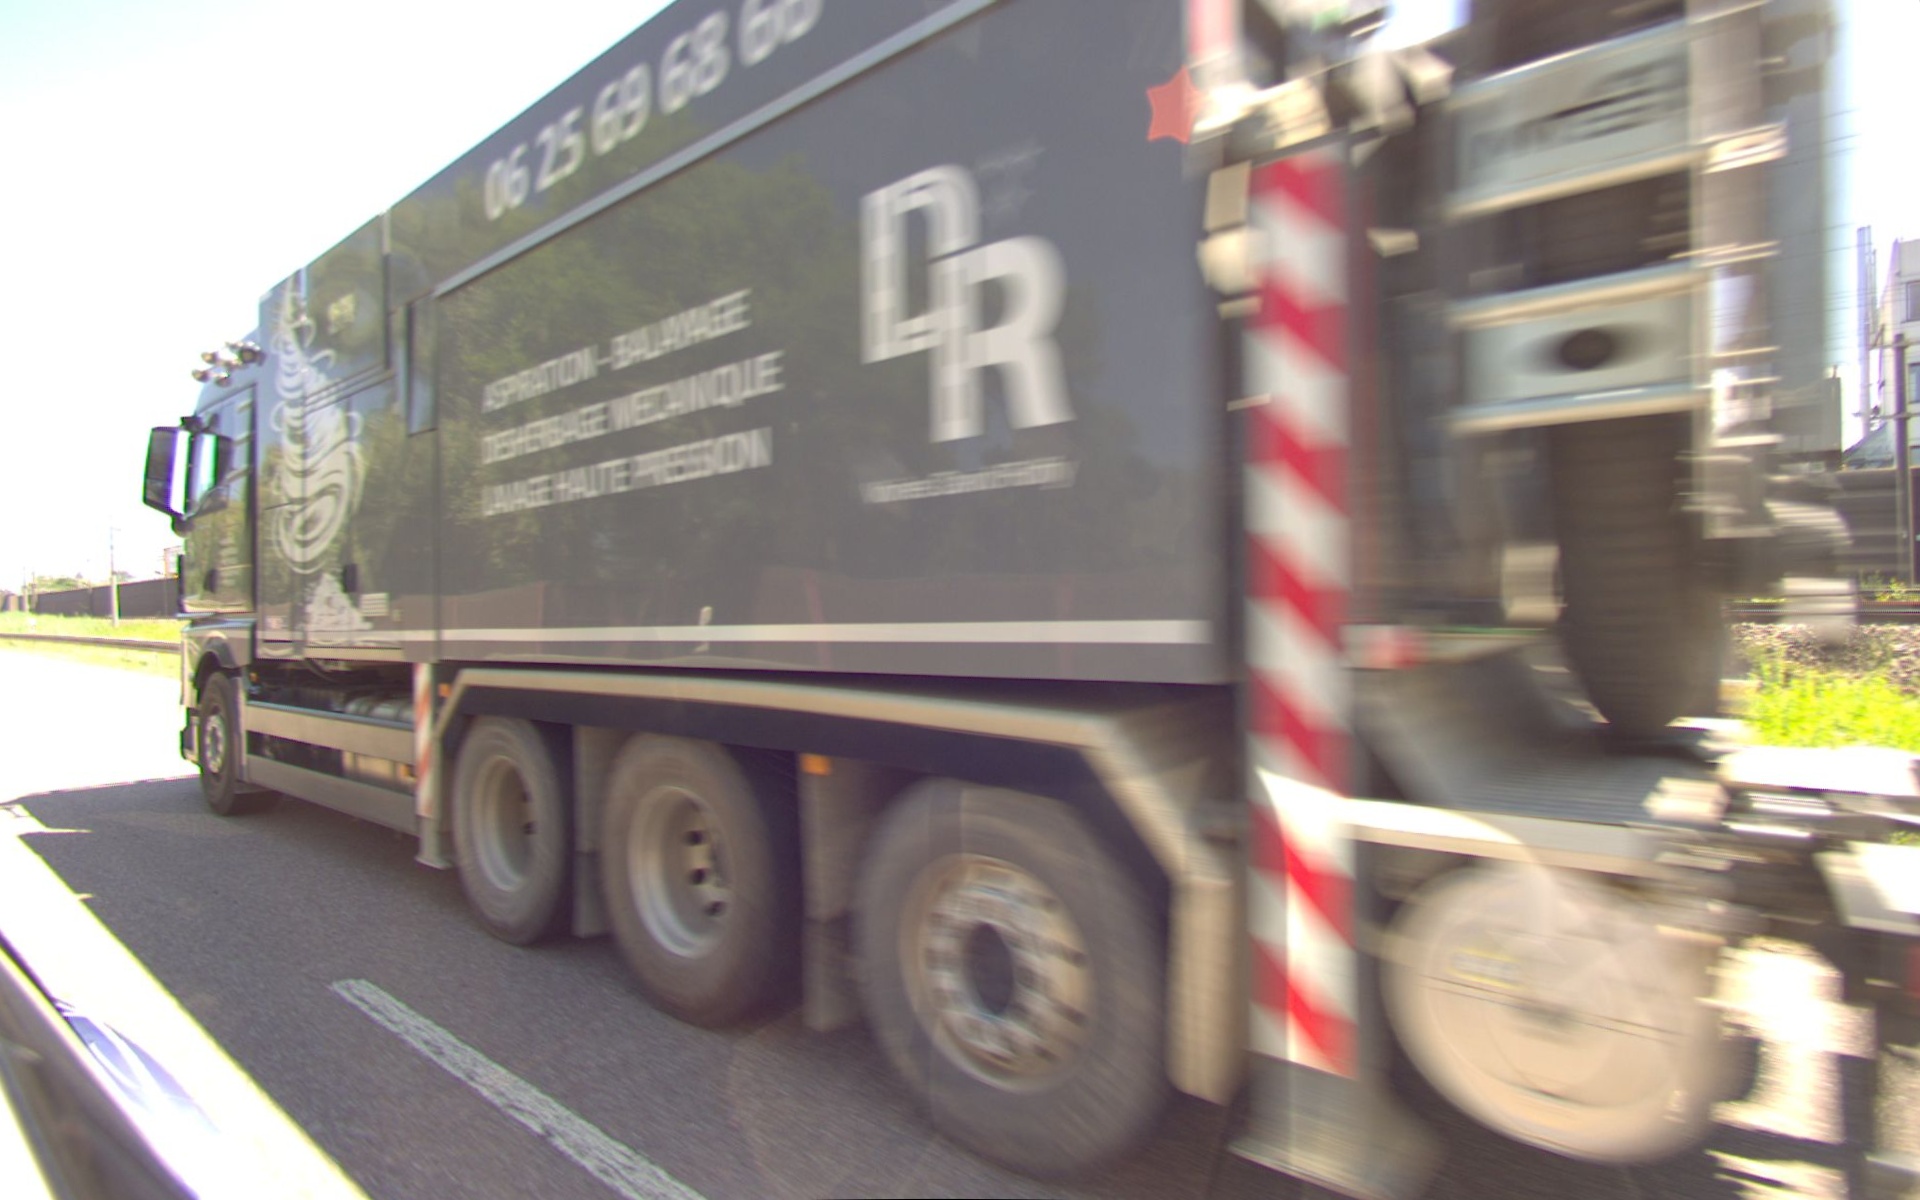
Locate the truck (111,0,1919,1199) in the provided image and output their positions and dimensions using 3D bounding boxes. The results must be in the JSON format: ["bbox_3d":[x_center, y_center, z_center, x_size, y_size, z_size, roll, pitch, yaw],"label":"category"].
[{"bbox_3d":[-1.893,-0.385,5.730,10.969,3.654,2.631,-2,-1,40],"label":"truck"}]
